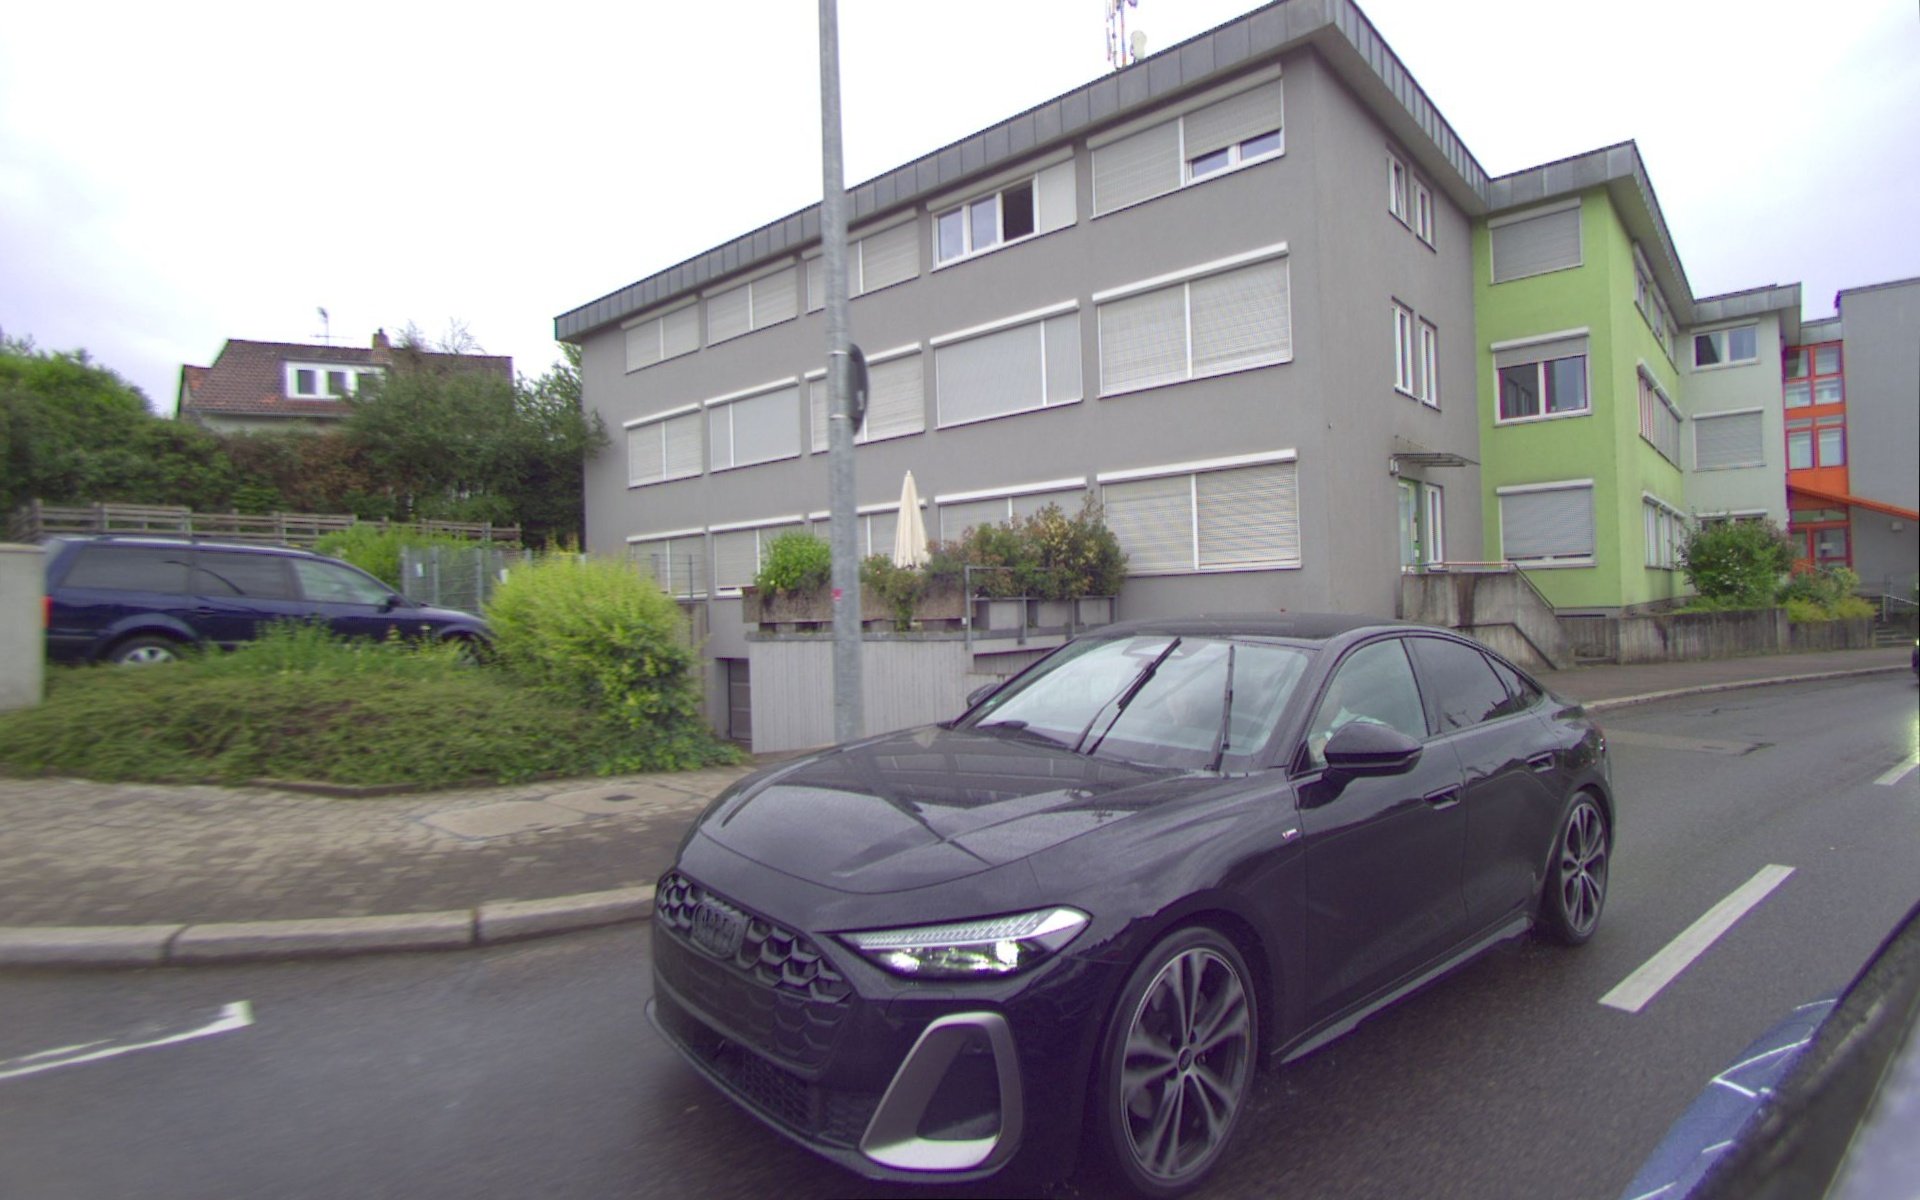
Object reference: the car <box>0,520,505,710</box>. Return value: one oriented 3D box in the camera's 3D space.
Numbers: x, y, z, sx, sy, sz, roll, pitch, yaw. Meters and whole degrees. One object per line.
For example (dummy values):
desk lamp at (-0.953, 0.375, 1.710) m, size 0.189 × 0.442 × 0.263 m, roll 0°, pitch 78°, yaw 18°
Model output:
car at (-6.998, 0.013, 10.313) m, size 1.808 × 1.545 × 3.942 m, roll 3°, pitch 4°, yaw 41°

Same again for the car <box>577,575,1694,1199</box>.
car at (1.128, 0.701, 4.122) m, size 4.655 × 1.442 × 1.870 m, roll -3°, pitch 1°, yaw -39°
